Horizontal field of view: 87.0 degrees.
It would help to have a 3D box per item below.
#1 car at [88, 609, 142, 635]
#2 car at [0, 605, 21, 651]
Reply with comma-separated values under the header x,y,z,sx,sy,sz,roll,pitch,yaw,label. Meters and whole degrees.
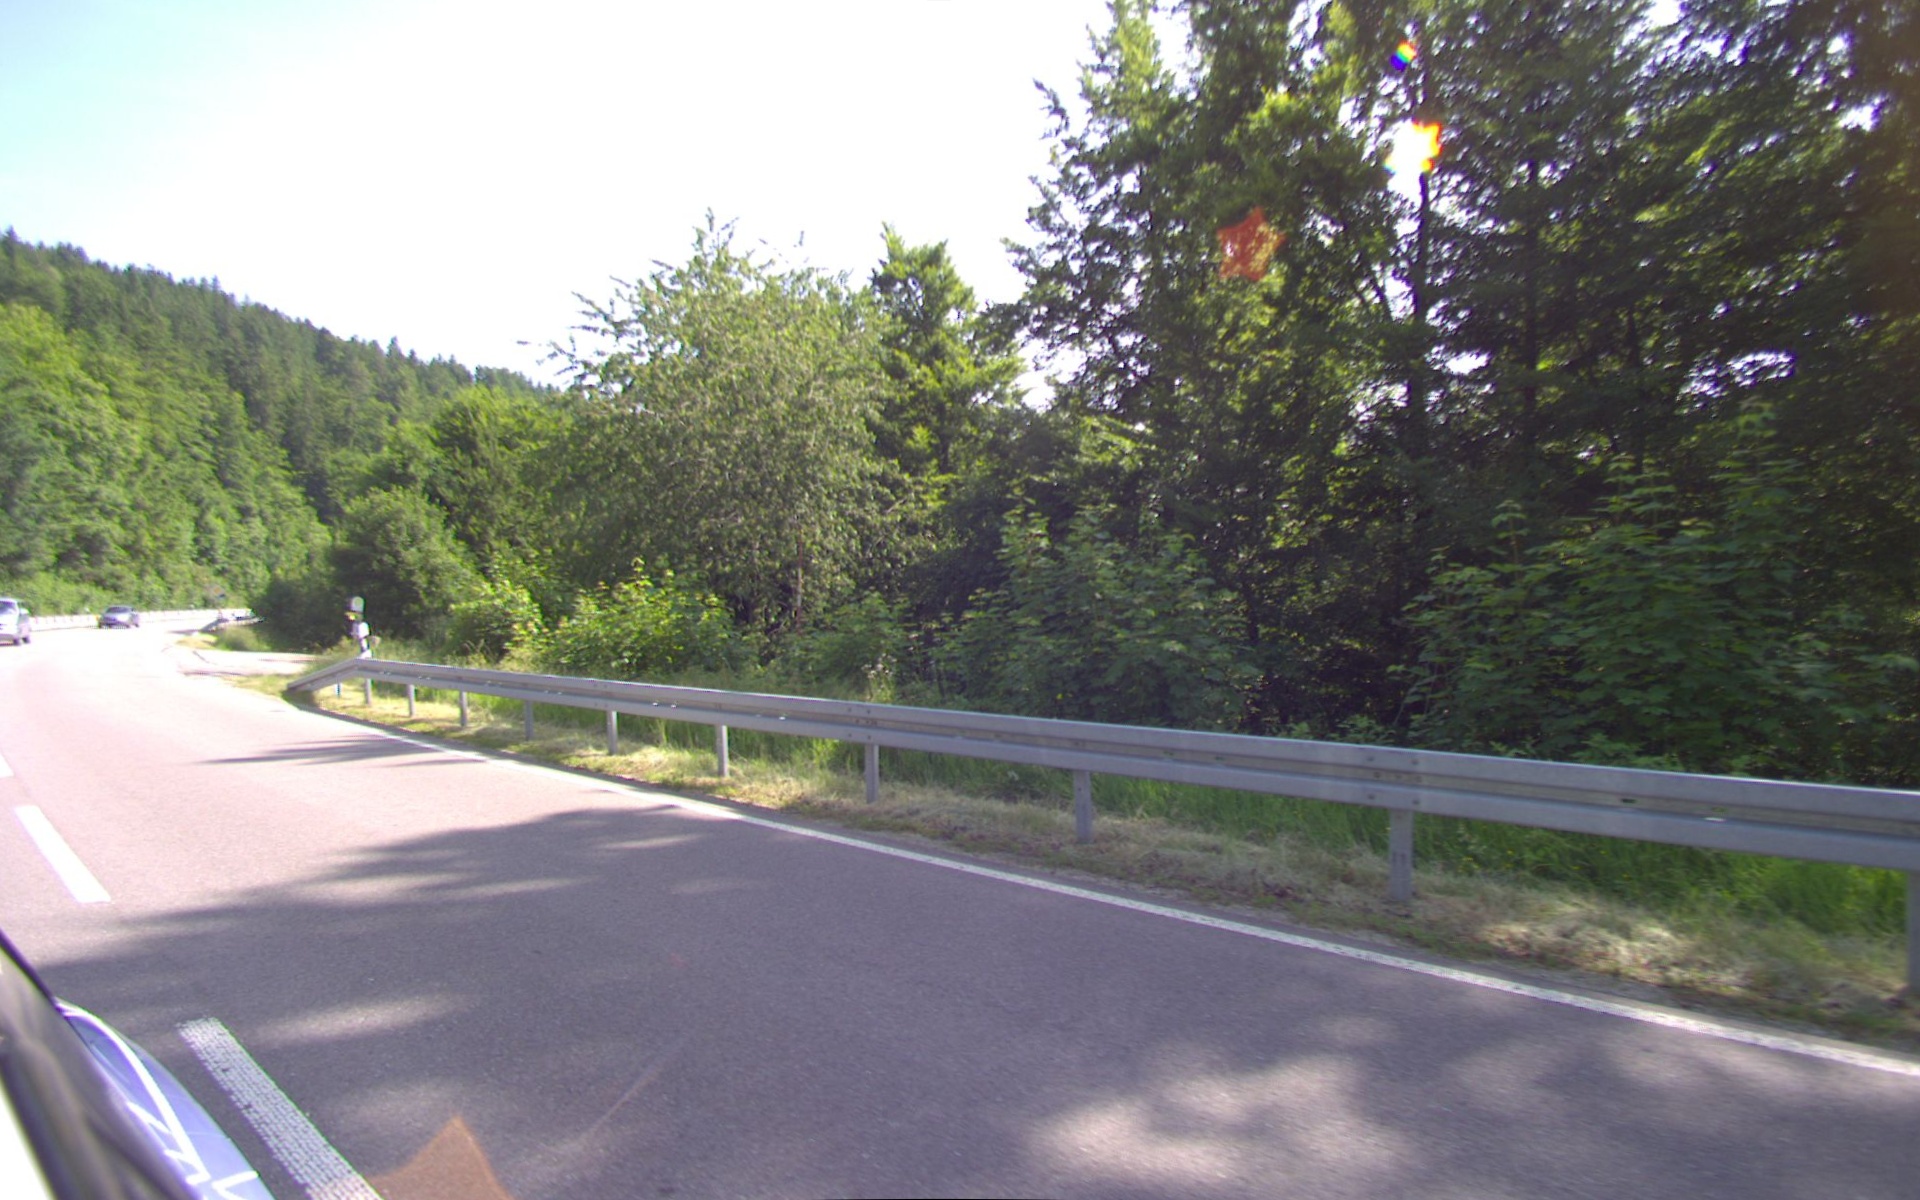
x,y,z,sx,sy,sz,roll,pitch,yaw,label
-55.936,1.439,67.090,1.966,1.655,4.013,-1,0,-28,car
-39.113,1.111,40.785,1.628,1.773,3.801,1,-1,-40,car
